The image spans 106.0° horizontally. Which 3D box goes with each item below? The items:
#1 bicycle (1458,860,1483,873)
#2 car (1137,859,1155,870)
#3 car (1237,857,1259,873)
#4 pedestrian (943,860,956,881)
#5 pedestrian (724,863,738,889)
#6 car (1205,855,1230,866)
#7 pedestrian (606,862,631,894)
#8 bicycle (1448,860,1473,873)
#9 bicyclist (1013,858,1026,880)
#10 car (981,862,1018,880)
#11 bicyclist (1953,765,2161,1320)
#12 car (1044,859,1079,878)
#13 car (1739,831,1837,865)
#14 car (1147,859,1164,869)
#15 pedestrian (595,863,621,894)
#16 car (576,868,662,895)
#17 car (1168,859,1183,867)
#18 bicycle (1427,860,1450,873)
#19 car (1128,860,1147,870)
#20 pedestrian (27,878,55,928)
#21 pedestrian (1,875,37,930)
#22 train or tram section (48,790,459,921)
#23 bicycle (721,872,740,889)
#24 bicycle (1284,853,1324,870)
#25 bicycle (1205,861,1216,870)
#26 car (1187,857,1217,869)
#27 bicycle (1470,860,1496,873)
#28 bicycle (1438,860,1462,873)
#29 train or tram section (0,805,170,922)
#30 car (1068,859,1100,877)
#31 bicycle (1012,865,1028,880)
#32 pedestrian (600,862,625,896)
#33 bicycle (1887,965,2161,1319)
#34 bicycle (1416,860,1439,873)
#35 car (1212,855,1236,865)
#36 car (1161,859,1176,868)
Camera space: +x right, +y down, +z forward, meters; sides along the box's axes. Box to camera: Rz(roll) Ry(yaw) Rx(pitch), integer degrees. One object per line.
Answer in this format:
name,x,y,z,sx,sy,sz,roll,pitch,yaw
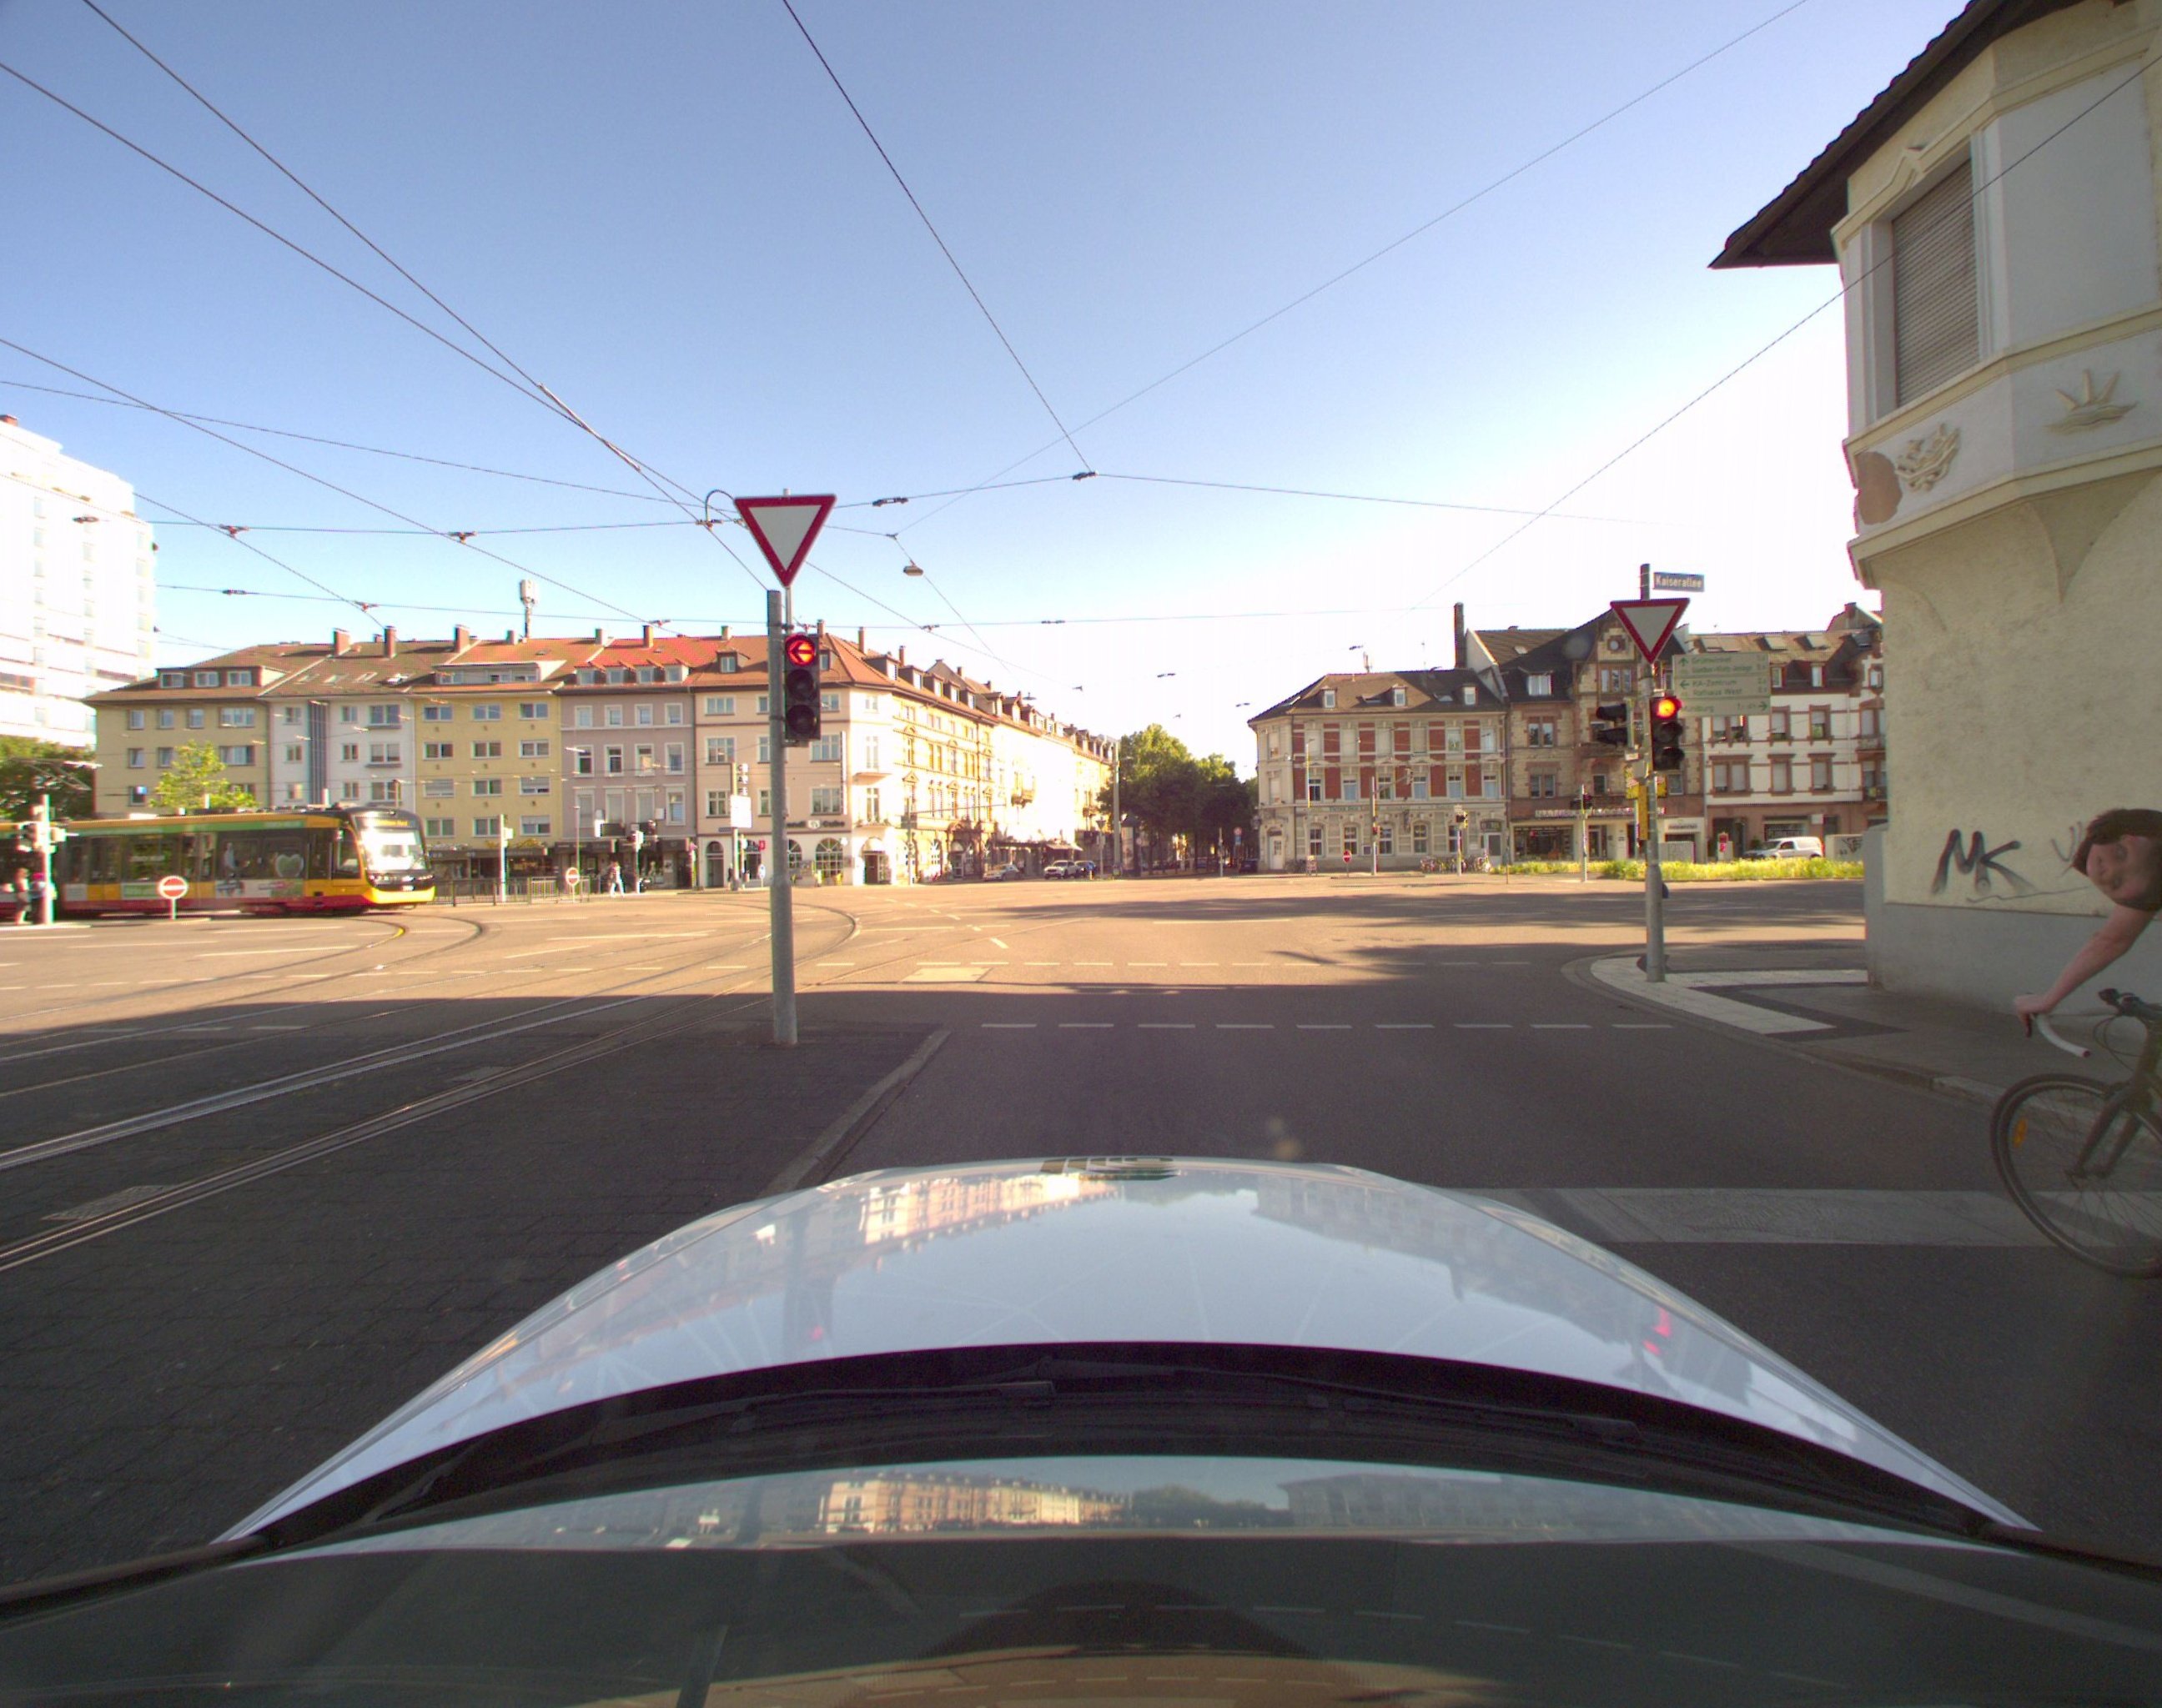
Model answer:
bicycle,25.207,0.800,52.710,0.656,0.840,2.162,0,-1,3
car,9.171,1.485,115.454,1.664,1.354,3.608,-2,0,19
car,16.904,1.091,82.342,1.664,1.483,3.967,-2,0,19
pedestrian,-10.652,1.359,65.931,0.770,1.670,0.834,-1,-1,17
pedestrian,-22.777,1.404,52.958,0.580,1.670,0.753,0,-1,2
car,21.446,1.052,127.728,3.549,1.648,1.691,-2,0,19
pedestrian,-22.965,1.190,40.426,0.720,1.577,0.836,-1,-1,11
bicycle,24.570,0.805,52.756,0.656,0.840,2.162,0,-1,3
bicyclist,-4.939,1.204,65.420,0.772,1.803,1.060,-1,-1,16
car,-6.708,1.420,67.232,1.664,1.354,3.608,-2,0,19
bicyclist,3.581,0.574,2.507,0.570,1.701,1.117,-1,0,2
car,-1.604,1.209,67.516,1.664,1.483,3.789,-2,0,19
car,45.445,-0.386,52.411,4.406,2.013,2.002,-1,0,4
car,11.240,1.511,122.370,1.664,1.354,3.608,-2,0,19
pedestrian,-24.702,1.284,42.560,0.842,1.577,0.836,-1,-1,11
car,-30.363,1.785,53.641,4.347,1.711,2.308,0,-1,4
car,15.717,1.514,135.609,1.664,1.354,3.608,-2,0,19
bicycle,23.163,0.815,52.763,0.656,0.840,2.162,0,-1,3
car,7.696,1.483,111.329,1.664,1.354,3.608,-2,0,19
pedestrian,-31.910,1.495,24.995,0.456,1.505,0.485,-1,1,38
pedestrian,-32.916,1.496,25.244,0.456,1.644,0.643,-1,1,38
train or tram section,-27.473,0.157,27.069,12.924,3.814,2.951,-1,0,11
bicycle,-22.776,1.695,52.915,0.570,1.077,1.497,0,-1,2
bicycle,15.605,0.495,57.067,2.547,1.174,0.818,0,-1,-1
bicycle,15.768,1.385,99.287,0.636,1.021,1.839,0,-1,-12
car,17.202,1.250,115.462,3.870,1.648,1.691,-2,0,19
bicycle,26.011,0.794,52.725,0.656,0.840,2.162,0,-1,3
bicycle,23.887,0.810,52.749,0.656,0.840,2.162,0,-1,3
train or tram section,-39.761,0.442,28.538,12.727,3.814,2.943,-1,0,2
car,0.308,1.236,73.776,1.664,1.483,3.967,-2,0,19
bicycle,-4.893,1.479,65.540,0.696,1.118,1.642,-1,-1,16
pedestrian,-21.616,1.149,37.580,0.545,1.577,0.838,-1,-1,29
bicycle,3.606,0.955,2.515,0.516,0.970,1.750,-1,0,2
bicycle,22.428,0.820,52.704,0.656,0.840,2.162,0,-1,3
car,23.351,0.958,133.162,3.549,1.648,1.691,-2,0,19
car,14.030,1.495,130.616,1.664,1.354,3.608,-2,0,19
